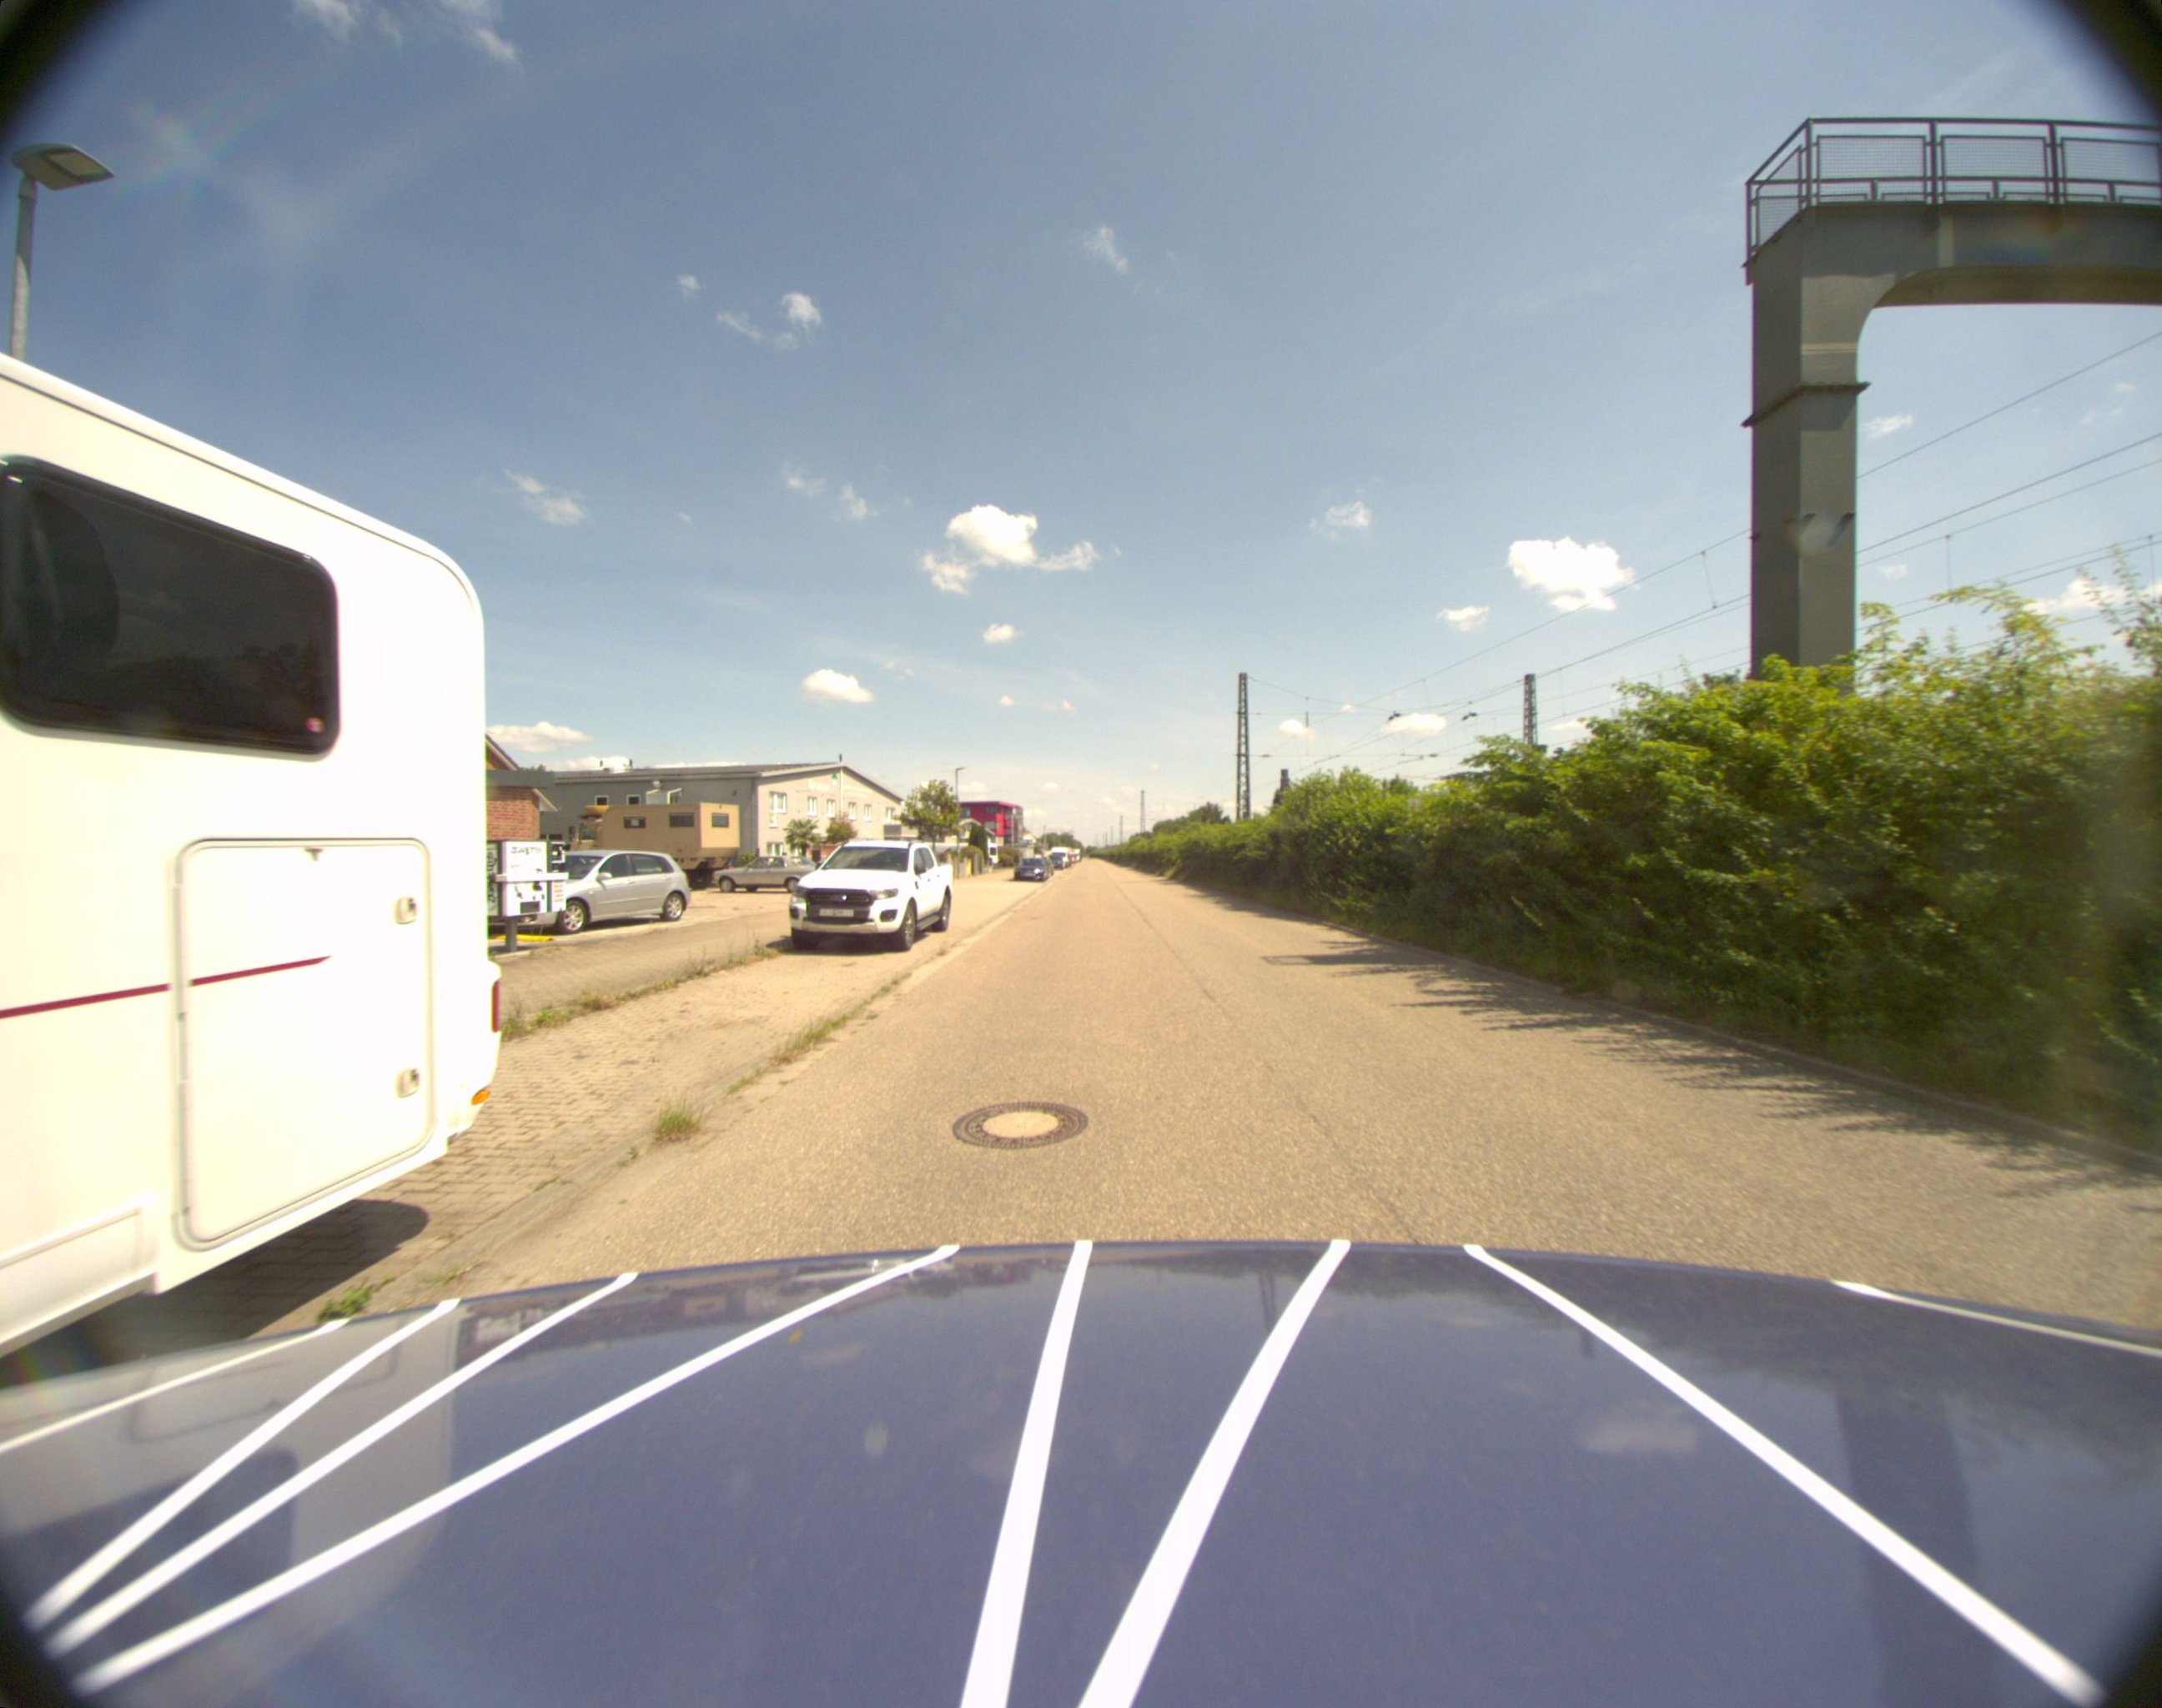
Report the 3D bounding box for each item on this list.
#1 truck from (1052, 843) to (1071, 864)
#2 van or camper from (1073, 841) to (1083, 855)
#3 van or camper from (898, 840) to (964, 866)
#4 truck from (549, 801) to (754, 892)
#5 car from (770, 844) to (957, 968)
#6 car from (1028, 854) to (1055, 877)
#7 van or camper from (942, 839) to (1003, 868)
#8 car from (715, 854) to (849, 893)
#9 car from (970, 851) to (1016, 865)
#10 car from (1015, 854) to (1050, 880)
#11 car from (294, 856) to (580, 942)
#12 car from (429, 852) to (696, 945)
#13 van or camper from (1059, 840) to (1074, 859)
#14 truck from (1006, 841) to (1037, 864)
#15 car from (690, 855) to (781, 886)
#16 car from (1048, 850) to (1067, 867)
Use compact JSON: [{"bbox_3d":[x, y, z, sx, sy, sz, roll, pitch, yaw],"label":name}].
[{"bbox_3d":[-2.330,-0.051,93.383,1.998,2.550,5.289,0,0,2],"label":"truck"},{"bbox_3d":[-0.758,-1.613,192.522,2.333,3.497,4.770,-2,1,1],"label":"van or camper"},{"bbox_3d":[-14.397,-0.081,73.109,5.832,2.423,2.136,0,1,11],"label":"van or camper"},{"bbox_3d":[-16.821,-0.270,29.980,6.473,3.368,3.108,0,1,9],"label":"truck"},{"bbox_3d":[-3.636,0.747,13.850,1.852,1.804,5.424,0,0,0],"label":"car"},{"bbox_3d":[-2.724,0.765,52.968,1.618,1.464,3.875,1,0,1],"label":"car"},{"bbox_3d":[-9.778,-0.041,68.763,5.098,2.519,2.002,0,1,14],"label":"van or camper"},{"bbox_3d":[-11.202,0.710,28.606,4.275,1.412,1.978,0,0,10],"label":"car"},{"bbox_3d":[-9.264,0.453,79.978,4.605,1.478,1.714,0,1,1],"label":"car"},{"bbox_3d":[-2.897,0.733,46.123,1.766,1.464,4.718,1,0,1],"label":"car"},{"bbox_3d":[-12.138,0.749,14.720,1.749,1.368,4.003,1,1,11],"label":"car"},{"bbox_3d":[-9.420,0.702,14.269,1.909,1.471,4.003,1,0,9],"label":"car"},{"bbox_3d":[-2.190,-0.743,115.848,1.998,2.855,4.395,-1,1,1],"label":"van or camper"},{"bbox_3d":[-7.178,-0.203,92.289,2.381,2.673,5.787,0,0,10],"label":"truck"},{"bbox_3d":[-15.836,0.731,35.050,1.785,1.316,4.005,0,0,12],"label":"car"},{"bbox_3d":[-2.509,0.487,80.610,1.805,1.692,4.000,1,0,1],"label":"car"}]
